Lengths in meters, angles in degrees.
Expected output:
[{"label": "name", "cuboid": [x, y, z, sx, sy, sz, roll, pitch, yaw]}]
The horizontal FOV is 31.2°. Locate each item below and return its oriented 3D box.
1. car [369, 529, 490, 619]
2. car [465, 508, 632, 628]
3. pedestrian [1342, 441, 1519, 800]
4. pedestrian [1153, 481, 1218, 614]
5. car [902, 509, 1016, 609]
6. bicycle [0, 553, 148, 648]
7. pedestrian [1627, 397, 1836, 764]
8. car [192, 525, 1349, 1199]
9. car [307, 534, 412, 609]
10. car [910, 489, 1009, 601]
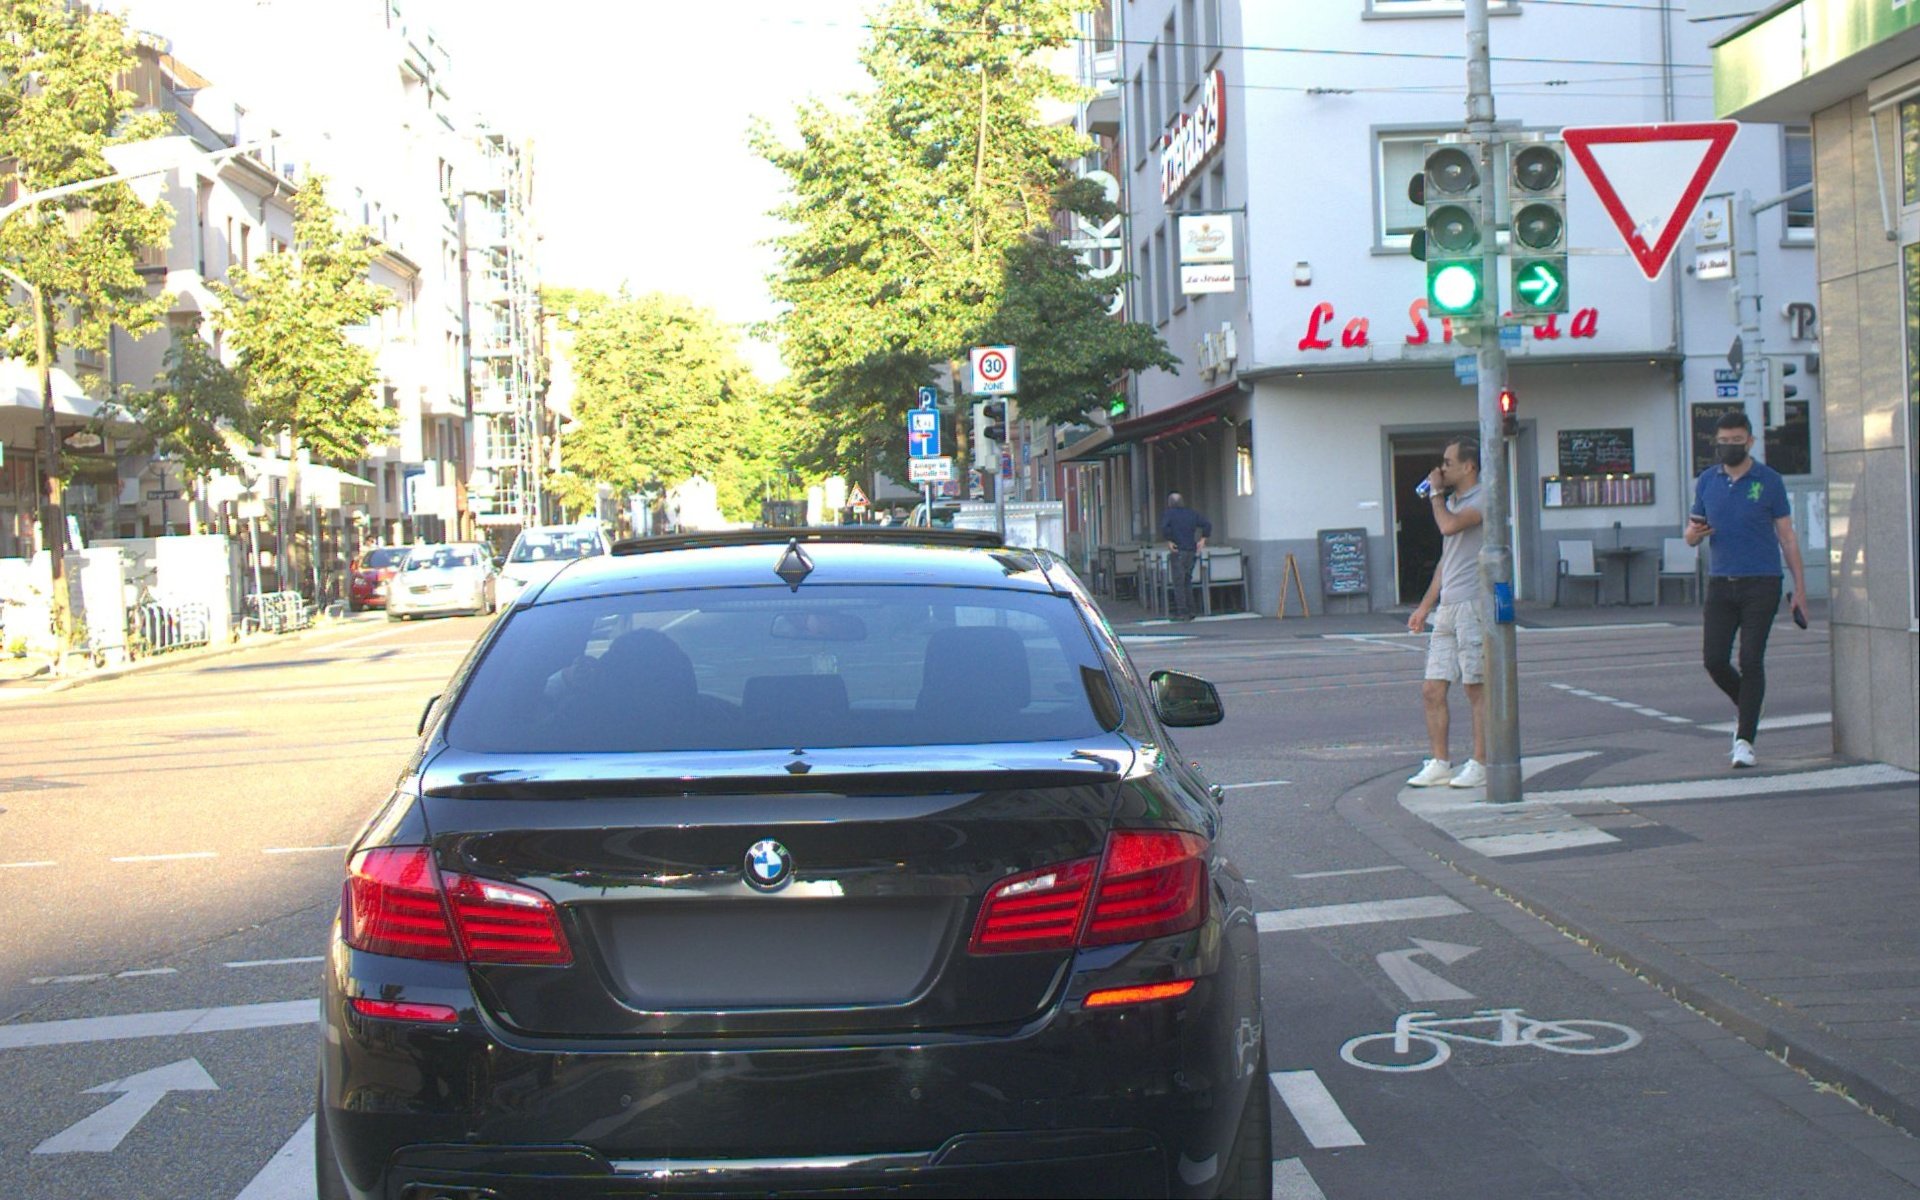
[{"label": "car", "cuboid": [-10.001, -0.493, 65.045, 1.834, 1.551, 3.780, -3, 1, -3]}, {"label": "car", "cuboid": [-5.923, -0.468, 49.897, 2.107, 1.551, 4.013, -3, 1, -3]}, {"label": "pedestrian", "cuboid": [2.344, 0.093, 17.178, 0.651, 1.736, 0.694, -2, 1, -8]}, {"label": "pedestrian", "cuboid": [2.900, -0.679, 44.309, 0.711, 1.670, 0.703, -2, 1, -2]}, {"label": "car", "cuboid": [0.004, -0.654, 53.132, 1.640, 1.439, 3.607, -2, 1, 1]}, {"label": "bicycle", "cuboid": [-12.095, 0.003, 45.919, 2.366, 1.248, 0.640, -1, 1, -6]}, {"label": "pedestrian", "cuboid": [3.961, -0.105, 17.621, 0.692, 1.821, 0.879, -2, 1, 34]}, {"label": "car", "cuboid": [-0.352, 0.577, 8.055, 1.953, 1.493, 4.465, 0, 1, -1]}, {"label": "car", "cuboid": [-13.504, -0.639, 77.451, 1.834, 1.551, 3.780, -3, 1, -3]}, {"label": "car", "cuboid": [0.008, -0.992, 59.856, 1.640, 1.867, 3.607, 1, 2, 1]}]
